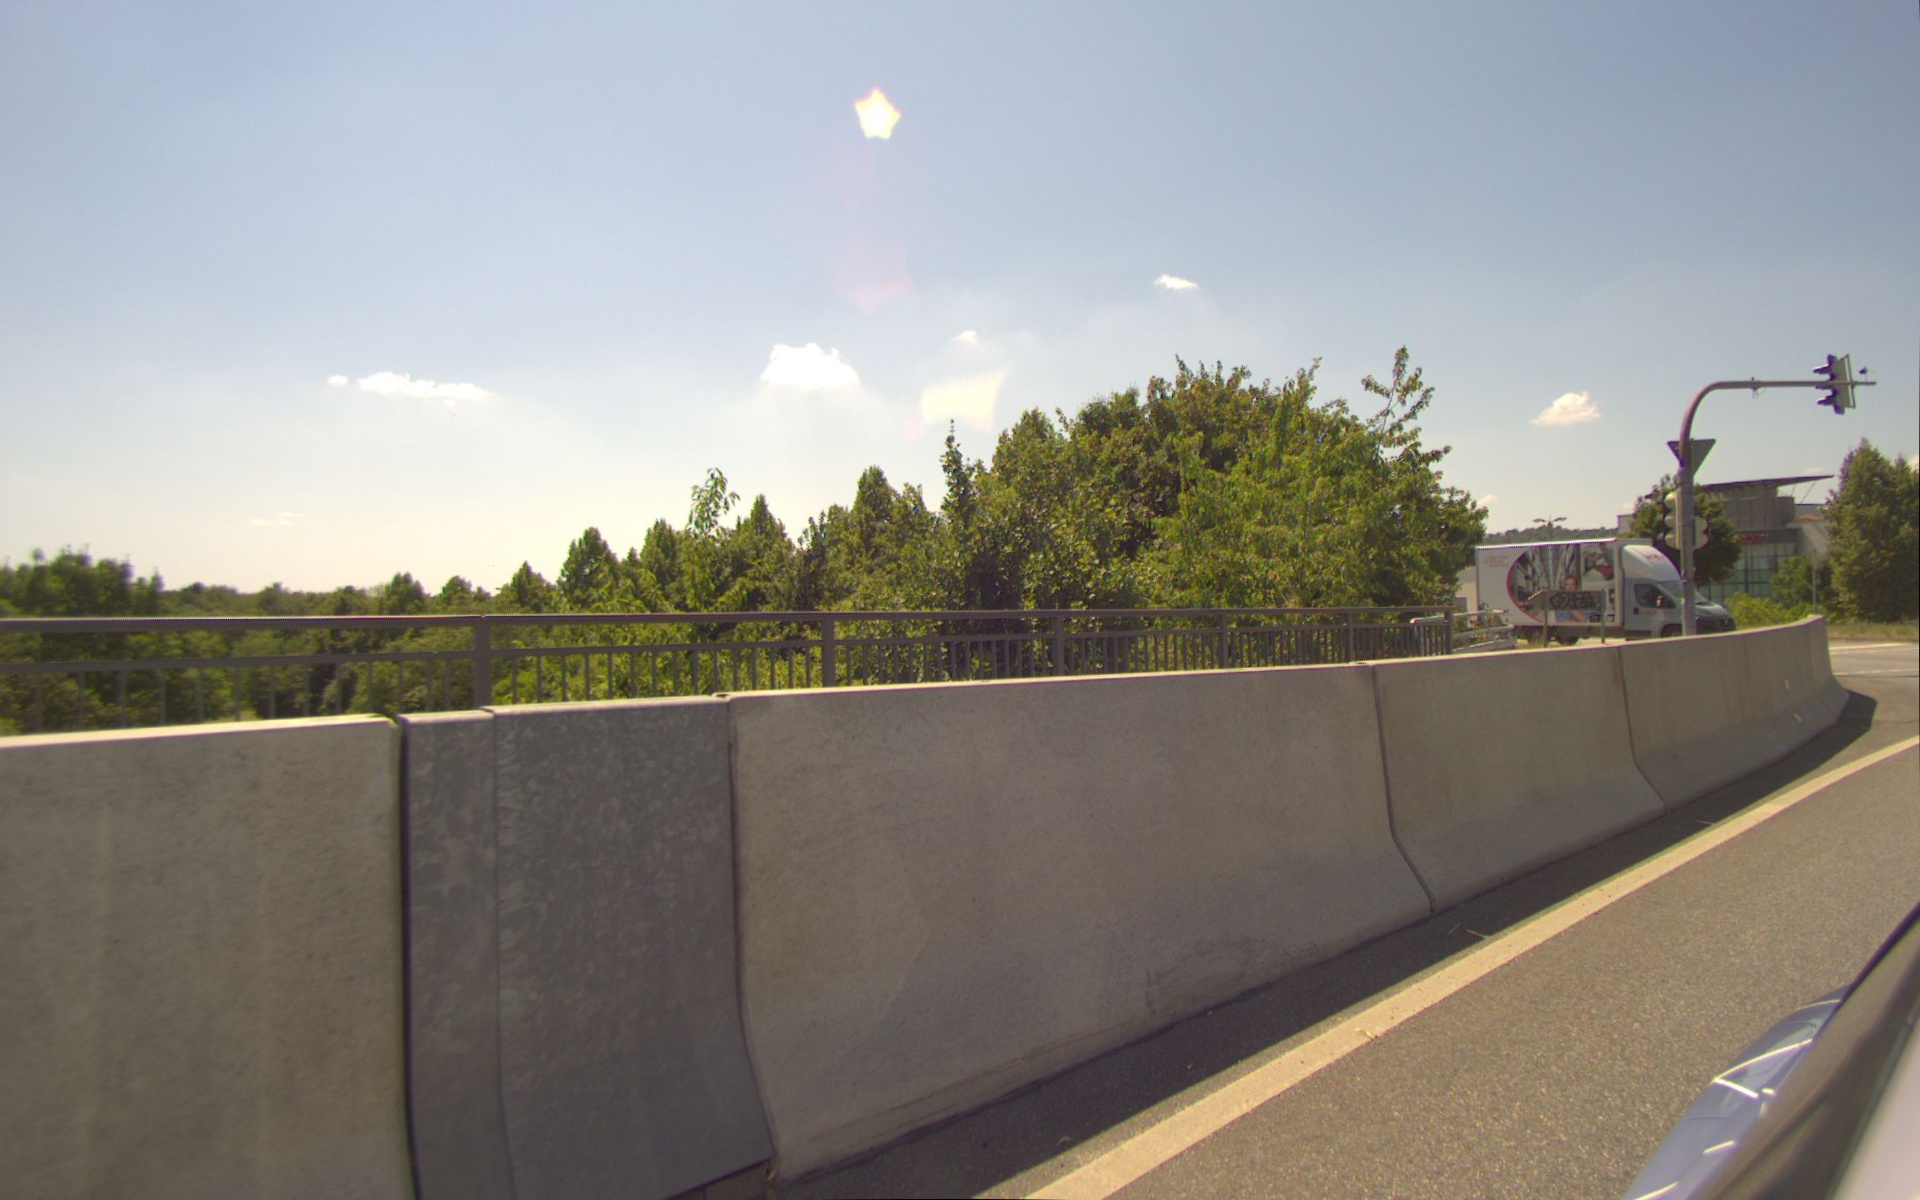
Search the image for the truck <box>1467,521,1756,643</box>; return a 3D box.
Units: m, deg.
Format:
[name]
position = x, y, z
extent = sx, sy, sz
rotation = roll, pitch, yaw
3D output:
[truck]
position = 20.232, -0.435, 31.971
extent = 2.369, 3.389, 7.205
rotation = -3, 0, -31
